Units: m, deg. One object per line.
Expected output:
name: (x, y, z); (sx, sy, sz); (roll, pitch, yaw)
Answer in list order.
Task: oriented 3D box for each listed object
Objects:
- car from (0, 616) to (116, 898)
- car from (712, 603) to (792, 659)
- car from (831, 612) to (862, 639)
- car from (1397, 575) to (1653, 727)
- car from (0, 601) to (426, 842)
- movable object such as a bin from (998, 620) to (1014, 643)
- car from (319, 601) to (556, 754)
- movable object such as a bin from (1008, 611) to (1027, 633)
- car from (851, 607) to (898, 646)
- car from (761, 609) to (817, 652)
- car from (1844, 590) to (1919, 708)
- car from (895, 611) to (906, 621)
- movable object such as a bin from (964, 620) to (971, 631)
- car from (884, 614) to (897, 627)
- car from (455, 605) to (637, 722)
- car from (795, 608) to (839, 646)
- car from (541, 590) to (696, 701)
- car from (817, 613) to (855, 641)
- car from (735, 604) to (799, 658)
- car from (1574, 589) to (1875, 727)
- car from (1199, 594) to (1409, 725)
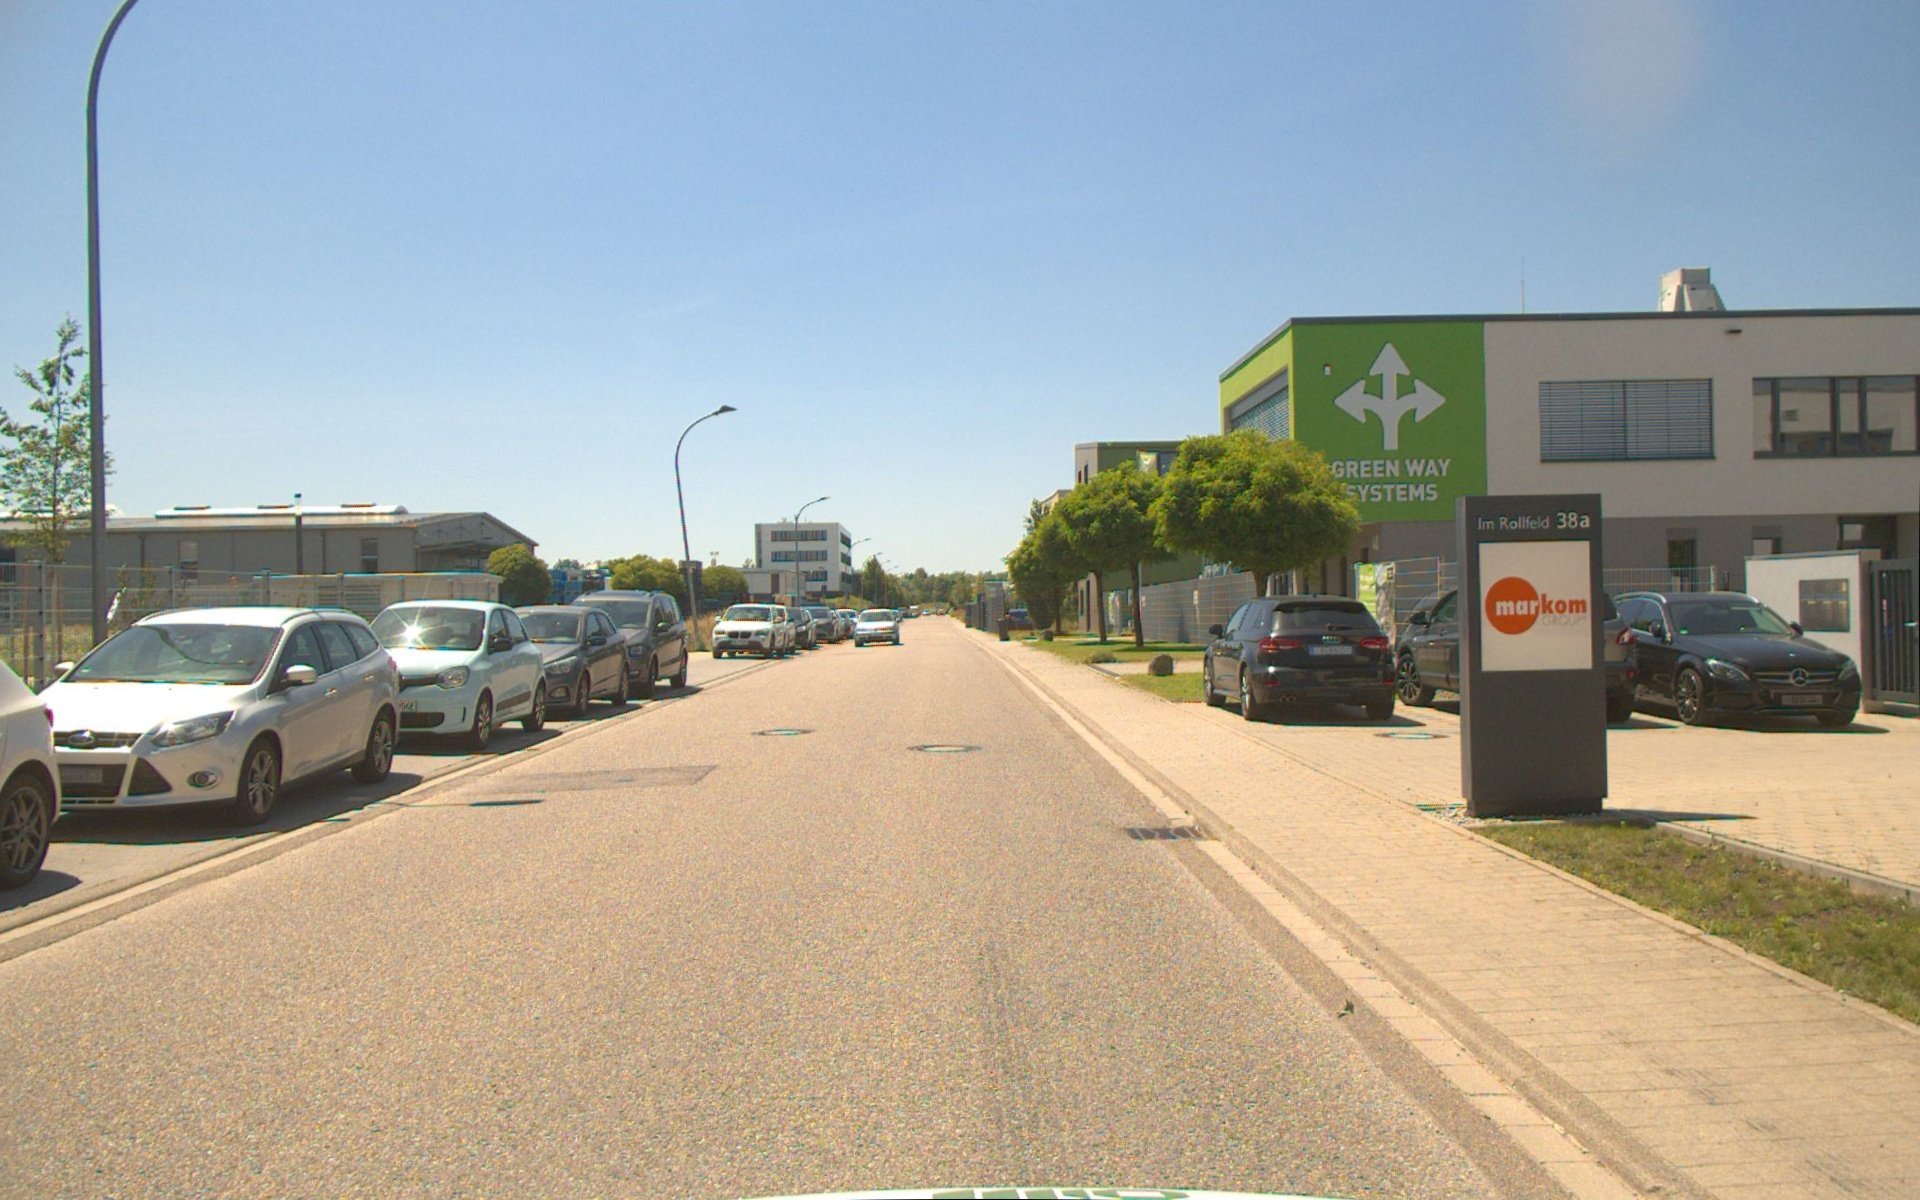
car: (-5.848, 0.823, 7.684); (1.668, 1.469, 4.438); (0, 0, -2)
car: (-6.092, 0.905, 48.948); (1.750, 1.569, 4.364); (0, -1, 1)
car: (-6.845, 1.547, 100.377); (1.733, 1.620, 4.358); (0, -1, -2)
car: (6.735, 0.565, 20.163); (1.688, 1.661, 4.021); (0, 0, -1)
car: (-5.741, 0.802, 13.068); (1.668, 1.563, 4.570); (0, 0, -2)
movable object such as a bin: (1.924, 1.317, 69.688); (0.540, 0.944, 0.522); (-5, -1, 9)
car: (-5.787, 0.801, 18.744); (1.601, 1.563, 3.656); (0, 0, -2)
movable object such as a bin: (4.044, 1.570, 116.432); (1.307, 1.485, 0.948); (-2, -1, -2)
car: (-3.428, 1.027, 66.921); (1.669, 1.436, 4.783); (-3, 0, -1)
car: (-6.304, 1.111, 61.364); (1.727, 1.544, 4.378); (0, -1, -1)
car: (12.725, 0.608, 20.186); (1.688, 1.461, 4.021); (0, 0, -1)
car: (-9.344, 2.523, 260.824); (1.611, 1.516, 3.206); (-1, -1, -1)
movable object such as a bin: (0.711, 2.448, 158.304); (0.541, 0.944, 0.522); (-5, 0, 3)
car: (-8.632, 2.560, 205.853); (1.437, 1.516, 3.206); (-1, -1, -1)
car: (-5.815, 0.838, 23.665); (1.601, 1.527, 3.971); (0, 0, 0)
car: (-6.428, 1.211, 74.714); (1.754, 1.635, 4.461); (0, -1, -2)
car: (-5.803, 0.734, 28.604); (1.766, 1.750, 4.621); (0, 0, -1)
car: (-6.816, 1.484, 91.230); (1.819, 1.507, 4.228); (0, -1, -1)
car: (-6.269, 0.988, 54.080); (1.751, 1.685, 3.767); (0, -1, -2)
car: (8.946, 0.627, 19.750); (1.688, 1.475, 4.021); (0, 0, -1)
car: (4.136, 0.675, 20.517); (1.658, 1.453, 4.245); (0, 0, -1)
